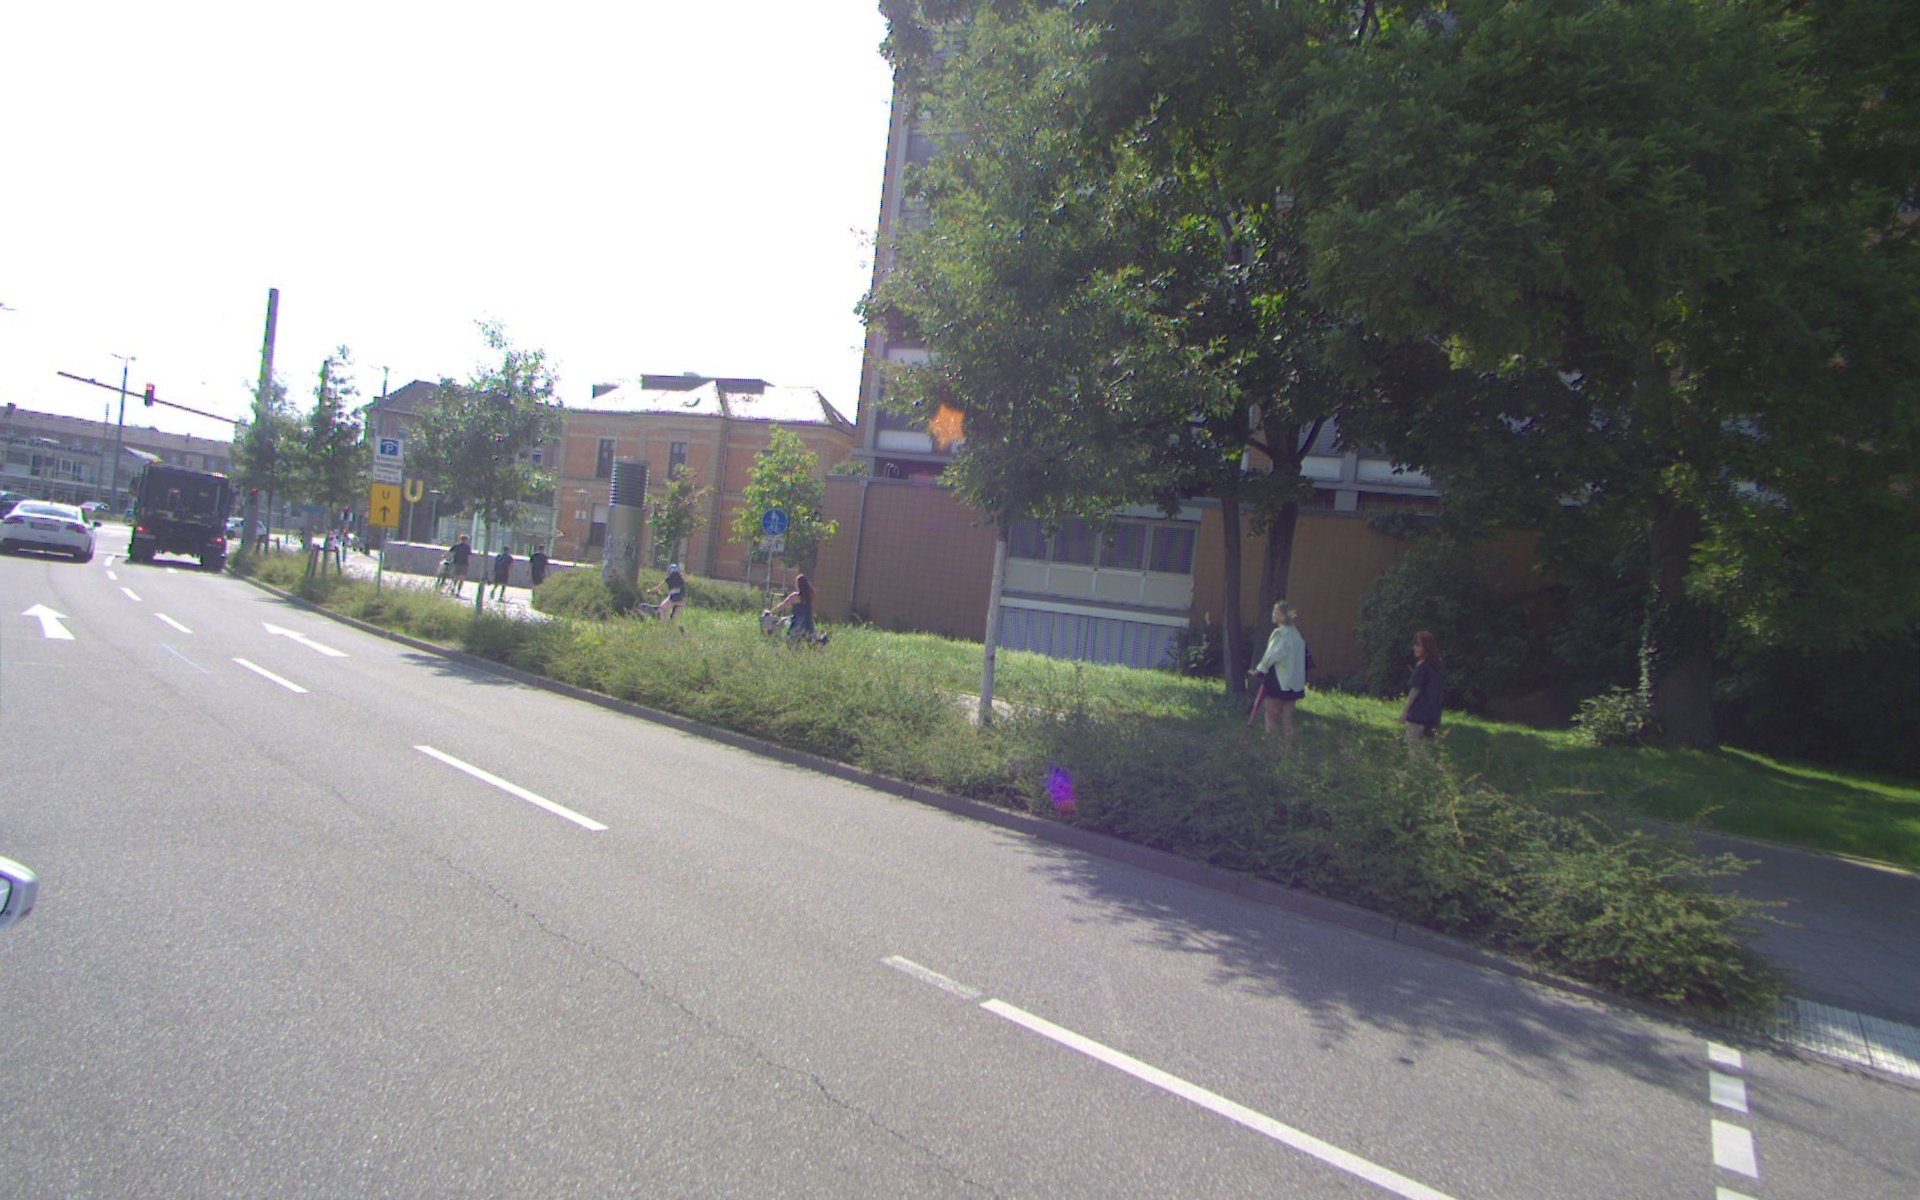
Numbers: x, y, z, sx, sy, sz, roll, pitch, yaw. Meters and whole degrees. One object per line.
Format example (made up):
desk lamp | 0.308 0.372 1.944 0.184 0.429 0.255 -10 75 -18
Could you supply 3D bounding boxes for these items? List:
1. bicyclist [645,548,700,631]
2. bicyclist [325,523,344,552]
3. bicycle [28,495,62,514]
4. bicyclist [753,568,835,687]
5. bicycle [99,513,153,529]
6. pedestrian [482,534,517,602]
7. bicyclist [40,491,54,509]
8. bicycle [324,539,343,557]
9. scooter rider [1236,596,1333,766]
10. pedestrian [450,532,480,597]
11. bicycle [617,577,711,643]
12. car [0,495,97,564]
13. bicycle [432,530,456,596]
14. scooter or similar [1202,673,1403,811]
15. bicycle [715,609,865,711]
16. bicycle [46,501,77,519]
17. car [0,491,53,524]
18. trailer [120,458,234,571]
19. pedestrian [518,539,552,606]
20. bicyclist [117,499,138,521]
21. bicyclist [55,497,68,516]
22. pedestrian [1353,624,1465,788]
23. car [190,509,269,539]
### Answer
bicyclist | -5.542 -0.199 19.381 0.791 1.516 0.548 7 3 34
bicyclist | -31.531 -3.159 50.686 0.670 1.336 0.677 6 1 -35
bicycle | -63.727 -6.647 70.065 1.576 0.997 0.504 7 0 -24
bicyclist | -2.415 0.399 14.623 0.831 1.620 0.689 7 3 39
bicycle | -62.486 -5.927 75.412 0.850 0.736 2.939 7 0 31
pedestrian | -14.119 -0.984 30.852 0.771 1.998 0.748 6 1 -26
bicyclist | -63.622 -6.957 70.092 0.498 1.203 0.504 7 1 -24
bicycle | -31.619 -2.617 50.741 0.670 0.786 2.108 6 0 -34
scooter rider | 3.452 0.858 10.706 0.665 1.722 0.534 4 2 -33
pedestrian | -15.066 -1.077 30.625 0.654 1.884 0.787 6 2 -27
bicycle | -5.765 0.177 19.534 1.971 1.074 0.556 7 3 34
car | -24.762 -1.944 27.336 1.751 1.472 4.376 8 -1 -39
bicycle | -15.541 -1.121 30.267 0.451 1.883 1.353 6 1 -28
scooter or similar | 3.516 1.431 10.542 0.552 1.074 1.986 5 1 -33
bicycle | -2.522 0.846 14.699 2.336 1.170 0.692 7 2 38
bicycle | -64.254 -6.415 71.919 1.586 0.997 0.501 7 0 -44
car | -50.055 -4.969 51.878 1.962 1.456 4.567 7 0 11
trailer | -25.913 -2.804 33.308 2.453 3.043 6.256 9 -1 -39
pedestrian | -13.391 -0.876 31.661 0.771 1.998 0.748 6 1 -26
bicyclist | -62.386 -6.750 75.386 0.850 1.520 0.904 7 1 31
bicyclist | -64.219 -6.698 71.911 0.592 1.262 0.501 6 1 -44
pedestrian | 5.164 1.193 11.583 0.866 1.727 0.704 7 3 38
car | -50.283 -5.204 69.296 1.742 1.442 4.067 7 0 18
